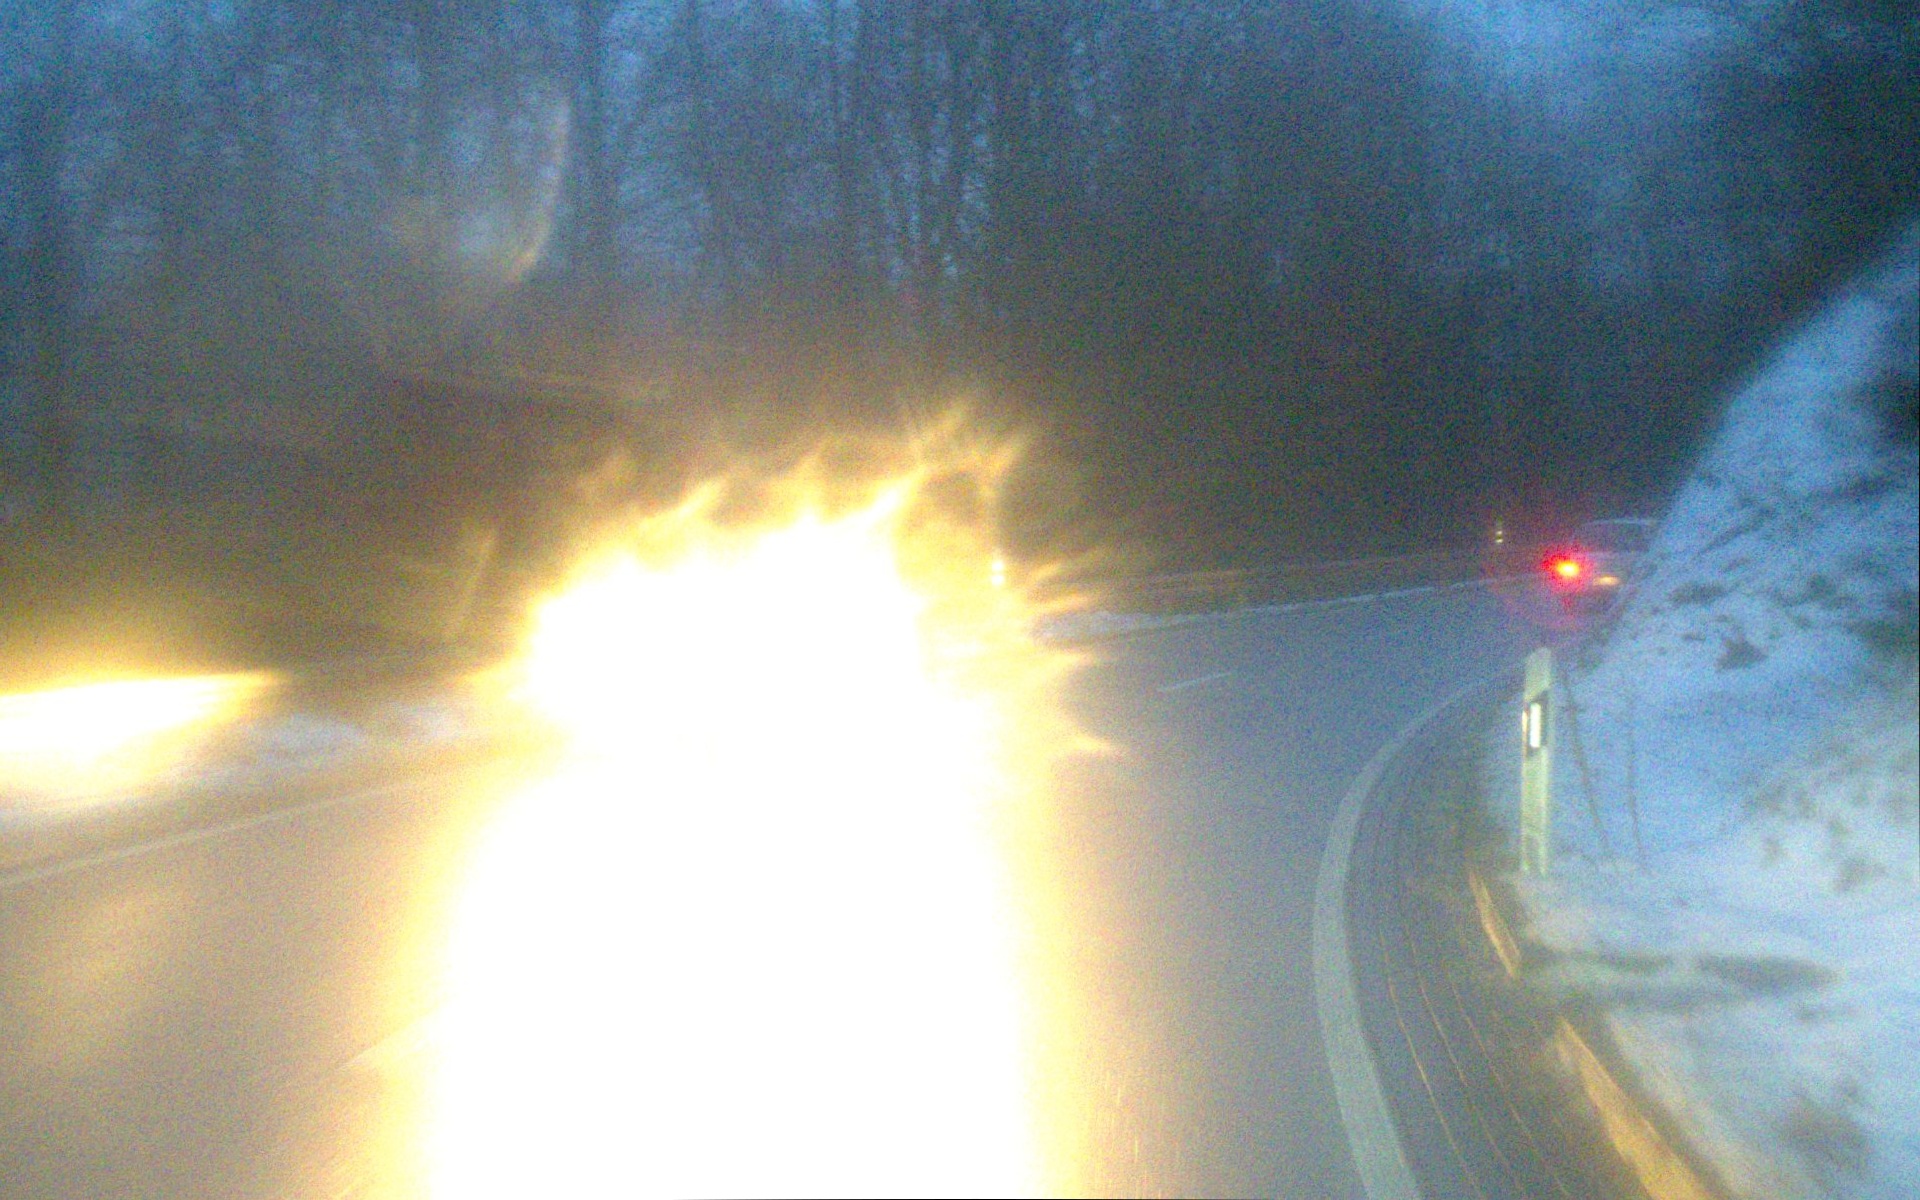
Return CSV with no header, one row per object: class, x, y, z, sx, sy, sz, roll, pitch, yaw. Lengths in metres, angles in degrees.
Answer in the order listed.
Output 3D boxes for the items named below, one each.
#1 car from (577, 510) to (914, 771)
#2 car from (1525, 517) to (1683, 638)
car,-1.386,0.228,23.734,1.722,1.624,3.999,1,1,5
car,10.386,-0.367,55.258,1.995,1.866,3.997,-1,0,18
